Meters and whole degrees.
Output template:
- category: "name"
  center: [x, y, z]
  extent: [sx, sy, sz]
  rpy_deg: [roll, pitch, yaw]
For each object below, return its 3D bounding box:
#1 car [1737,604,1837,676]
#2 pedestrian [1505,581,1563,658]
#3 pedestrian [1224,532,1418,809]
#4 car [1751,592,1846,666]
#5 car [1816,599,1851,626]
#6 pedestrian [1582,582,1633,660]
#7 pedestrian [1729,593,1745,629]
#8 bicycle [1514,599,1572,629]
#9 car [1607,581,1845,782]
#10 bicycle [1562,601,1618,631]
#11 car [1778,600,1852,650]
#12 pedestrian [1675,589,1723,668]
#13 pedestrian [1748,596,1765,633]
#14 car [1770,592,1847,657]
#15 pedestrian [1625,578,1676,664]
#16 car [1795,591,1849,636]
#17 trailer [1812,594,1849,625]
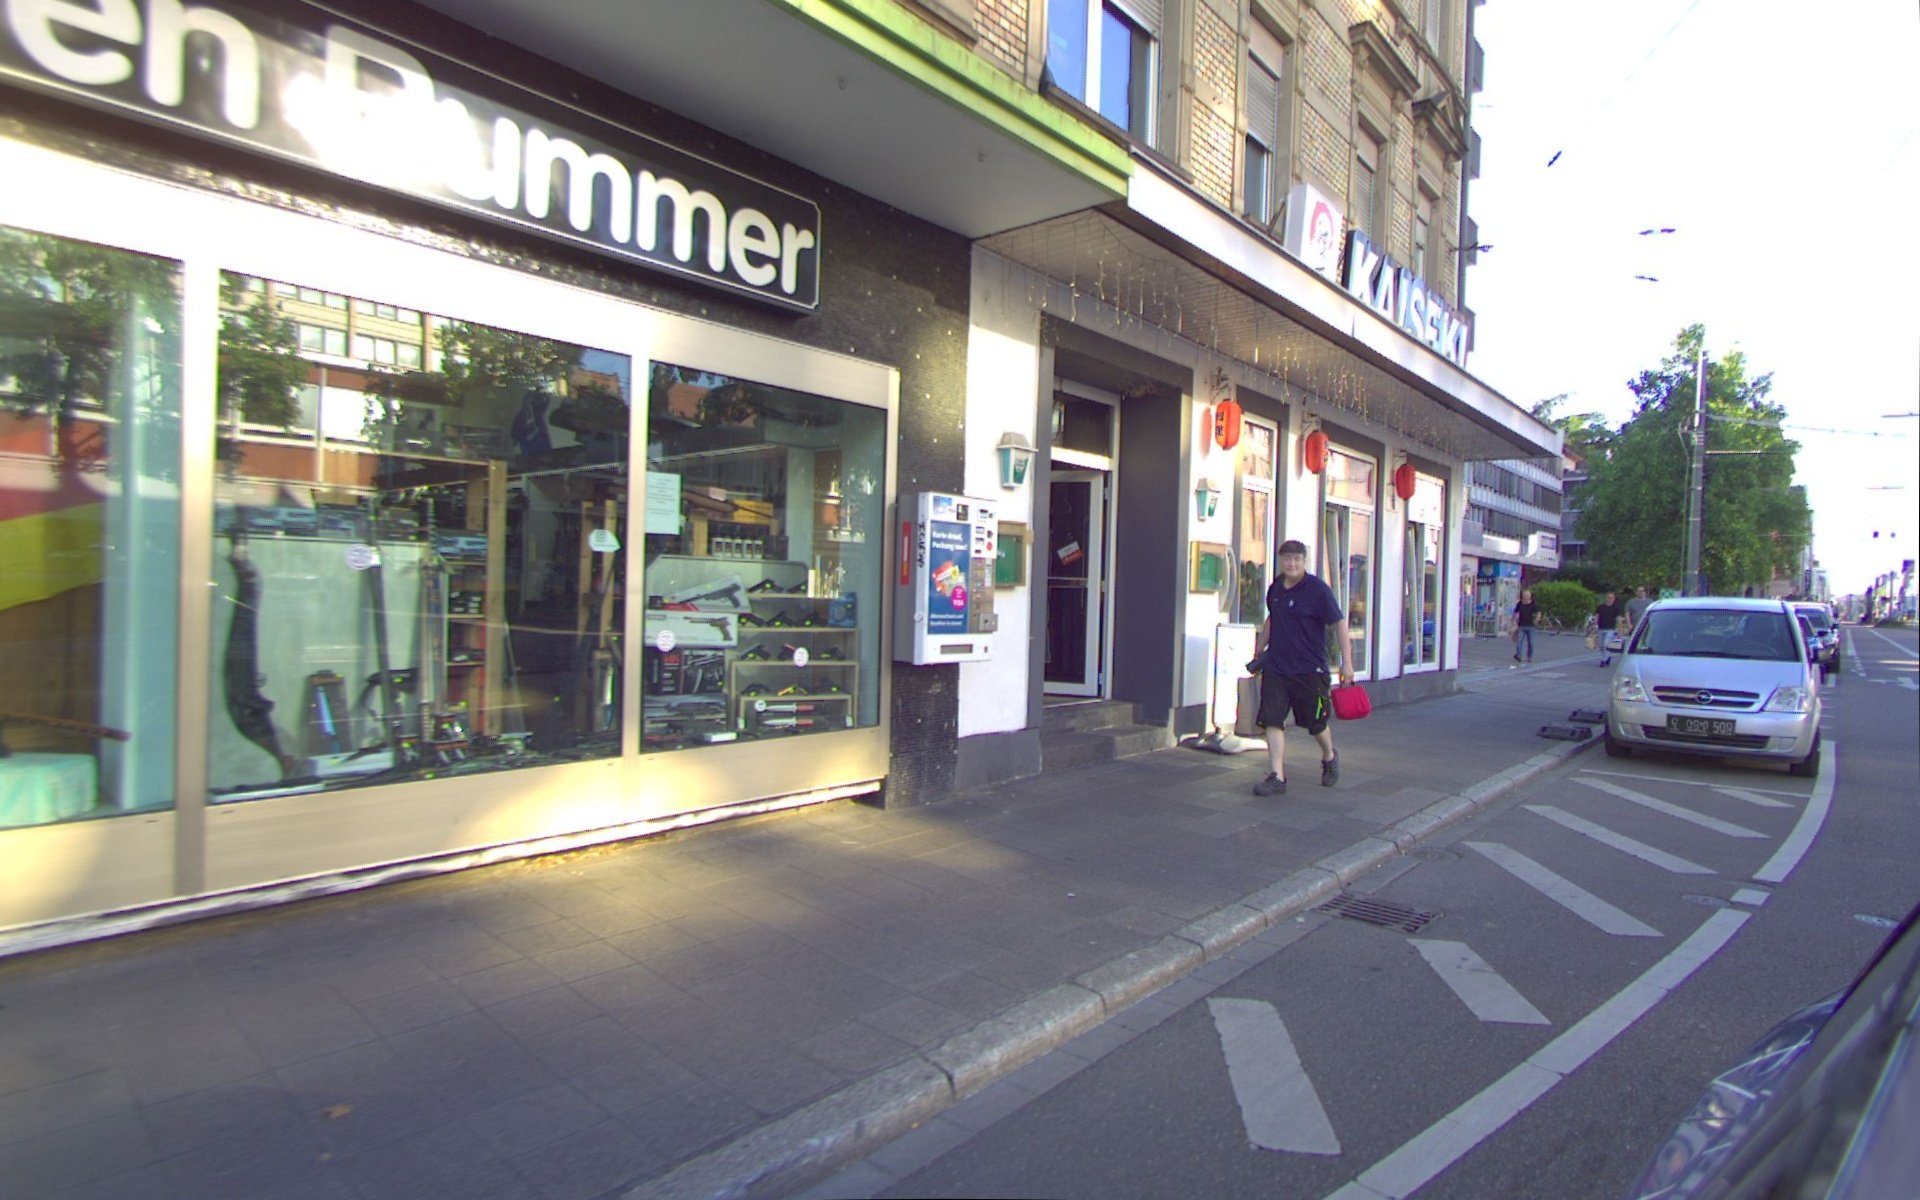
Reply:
- category: "car"
  center: [18.809, 0.844, 23.011]
  extent: [1.635, 1.511, 3.739]
  rpy_deg: [-1, -1, 40]
- category: "pedestrian"
  center: [13.718, 0.443, 24.185]
  extent: [0.900, 1.734, 1.017]
  rpy_deg: [5, 3, 41]
- category: "pedestrian"
  center: [2.622, 0.442, 7.338]
  extent: [0.946, 1.814, 1.039]
  rpy_deg: [3, 2, 41]
- category: "car"
  center: [22.390, 0.690, 26.972]
  extent: [1.819, 1.779, 4.408]
  rpy_deg: [1, 1, 41]
- category: "car"
  center: [60.968, 0.865, 70.639]
  extent: [1.778, 1.767, 4.408]
  rpy_deg: [1, 0, 41]
- category: "pedestrian"
  center: [15.343, 0.477, 23.971]
  extent: [0.810, 1.778, 1.017]
  rpy_deg: [3, 1, 41]
- category: "pedestrian"
  center: [37.530, 0.528, 48.885]
  extent: [0.493, 1.734, 0.430]
  rpy_deg: [5, 3, 42]
- category: "bicycle"
  center: [24.251, 0.572, 42.132]
  extent: [2.008, 1.109, 0.629]
  rpy_deg: [4, 2, 36]
- category: "car"
  center: [7.846, 0.658, 10.290]
  extent: [1.636, 1.635, 3.887]
  rpy_deg: [1, 1, 40]
- category: "bicycle"
  center: [25.953, 0.648, 41.688]
  extent: [1.879, 1.109, 0.462]
  rpy_deg: [3, 2, 41]
- category: "car"
  center: [29.486, 0.822, 34.876]
  extent: [1.786, 1.616, 4.259]
  rpy_deg: [0, 0, 43]
- category: "pedestrian"
  center: [17.156, 0.639, 23.498]
  extent: [0.787, 1.759, 0.931]
  rpy_deg: [2, 1, 41]
- category: "pedestrian"
  center: [37.990, 0.670, 48.275]
  extent: [0.493, 1.734, 0.430]
  rpy_deg: [5, 3, 42]
- category: "car"
  center: [25.545, 0.687, 30.455]
  extent: [1.673, 1.831, 4.185]
  rpy_deg: [1, 0, 41]
- category: "pedestrian"
  center: [16.036, 0.469, 23.506]
  extent: [0.793, 1.923, 1.017]
  rpy_deg: [3, 1, 41]
- category: "car"
  center: [41.573, 0.602, 48.752]
  extent: [1.876, 2.047, 4.831]
  rpy_deg: [1, 0, 42]
- category: "trailer"
  center: [64.006, 0.661, 74.400]
  extent: [1.779, 2.176, 5.231]
  rpy_deg: [1, 0, 44]
